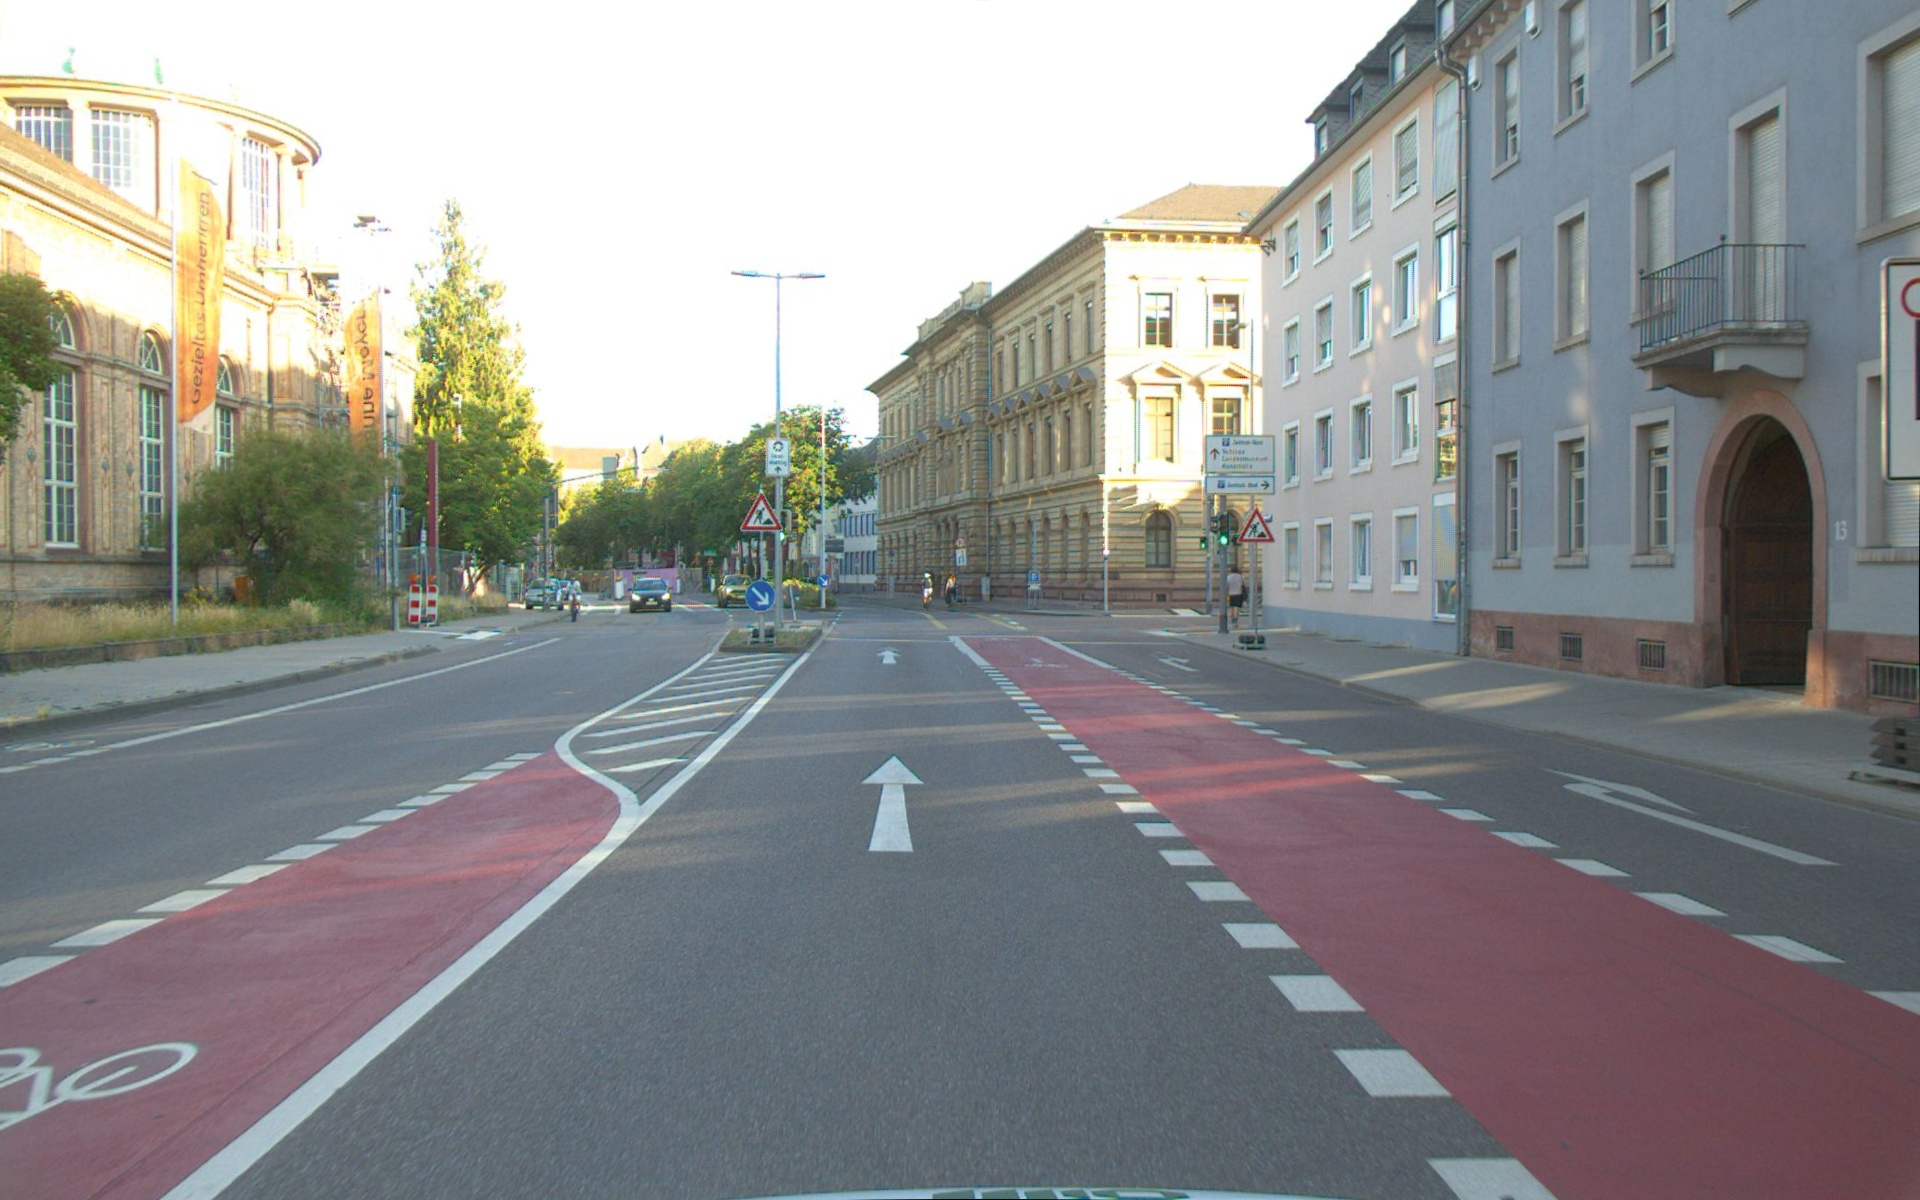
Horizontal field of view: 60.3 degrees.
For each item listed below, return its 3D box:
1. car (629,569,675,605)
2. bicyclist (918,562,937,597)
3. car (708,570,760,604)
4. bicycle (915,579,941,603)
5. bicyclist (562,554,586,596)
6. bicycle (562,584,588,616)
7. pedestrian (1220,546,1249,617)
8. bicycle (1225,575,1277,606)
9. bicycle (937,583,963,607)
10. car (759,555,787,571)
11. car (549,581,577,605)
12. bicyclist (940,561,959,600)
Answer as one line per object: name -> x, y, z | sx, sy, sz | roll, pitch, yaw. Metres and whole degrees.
car -> -13.666, -0.591, 73.581 | 1.789, 1.534, 4.419 | 0, 1, -8
bicyclist -> -1.493, -0.961, 76.789 | 0.658, 1.593, 0.695 | 2, 0, -19
car -> -10.745, -0.639, 78.986 | 1.807, 1.574, 4.120 | -1, 1, 1
bicycle -> -1.488, -0.437, 76.720 | 0.659, 1.089, 1.891 | 1, 0, -19
bicyclist -> -14.191, -0.915, 60.849 | 0.733, 1.485, 0.935 | -2, 1, -9
bicycle -> -14.174, -0.020, 60.927 | 0.739, 1.109, 1.929 | -2, 1, -9
pedestrian -> 7.980, -0.534, 48.054 | 0.768, 2.049, 0.995 | 0, 1, 12
bicycle -> 12.275, -0.401, 69.801 | 2.010, 1.228, 0.861 | 0, 3, -5
bicycle -> -0.471, -0.224, 77.086 | 0.642, 1.089, 2.248 | 2, 0, -16
car -> -19.552, -3.876, 172.826 | 1.788, 1.587, 3.837 | 0, 1, -23
car -> -24.674, -0.454, 102.718 | 1.651, 1.374, 3.873 | -2, 1, -14
bicyclist -> -0.486, -0.919, 77.207 | 0.639, 1.791, 0.860 | 2, 0, -16
